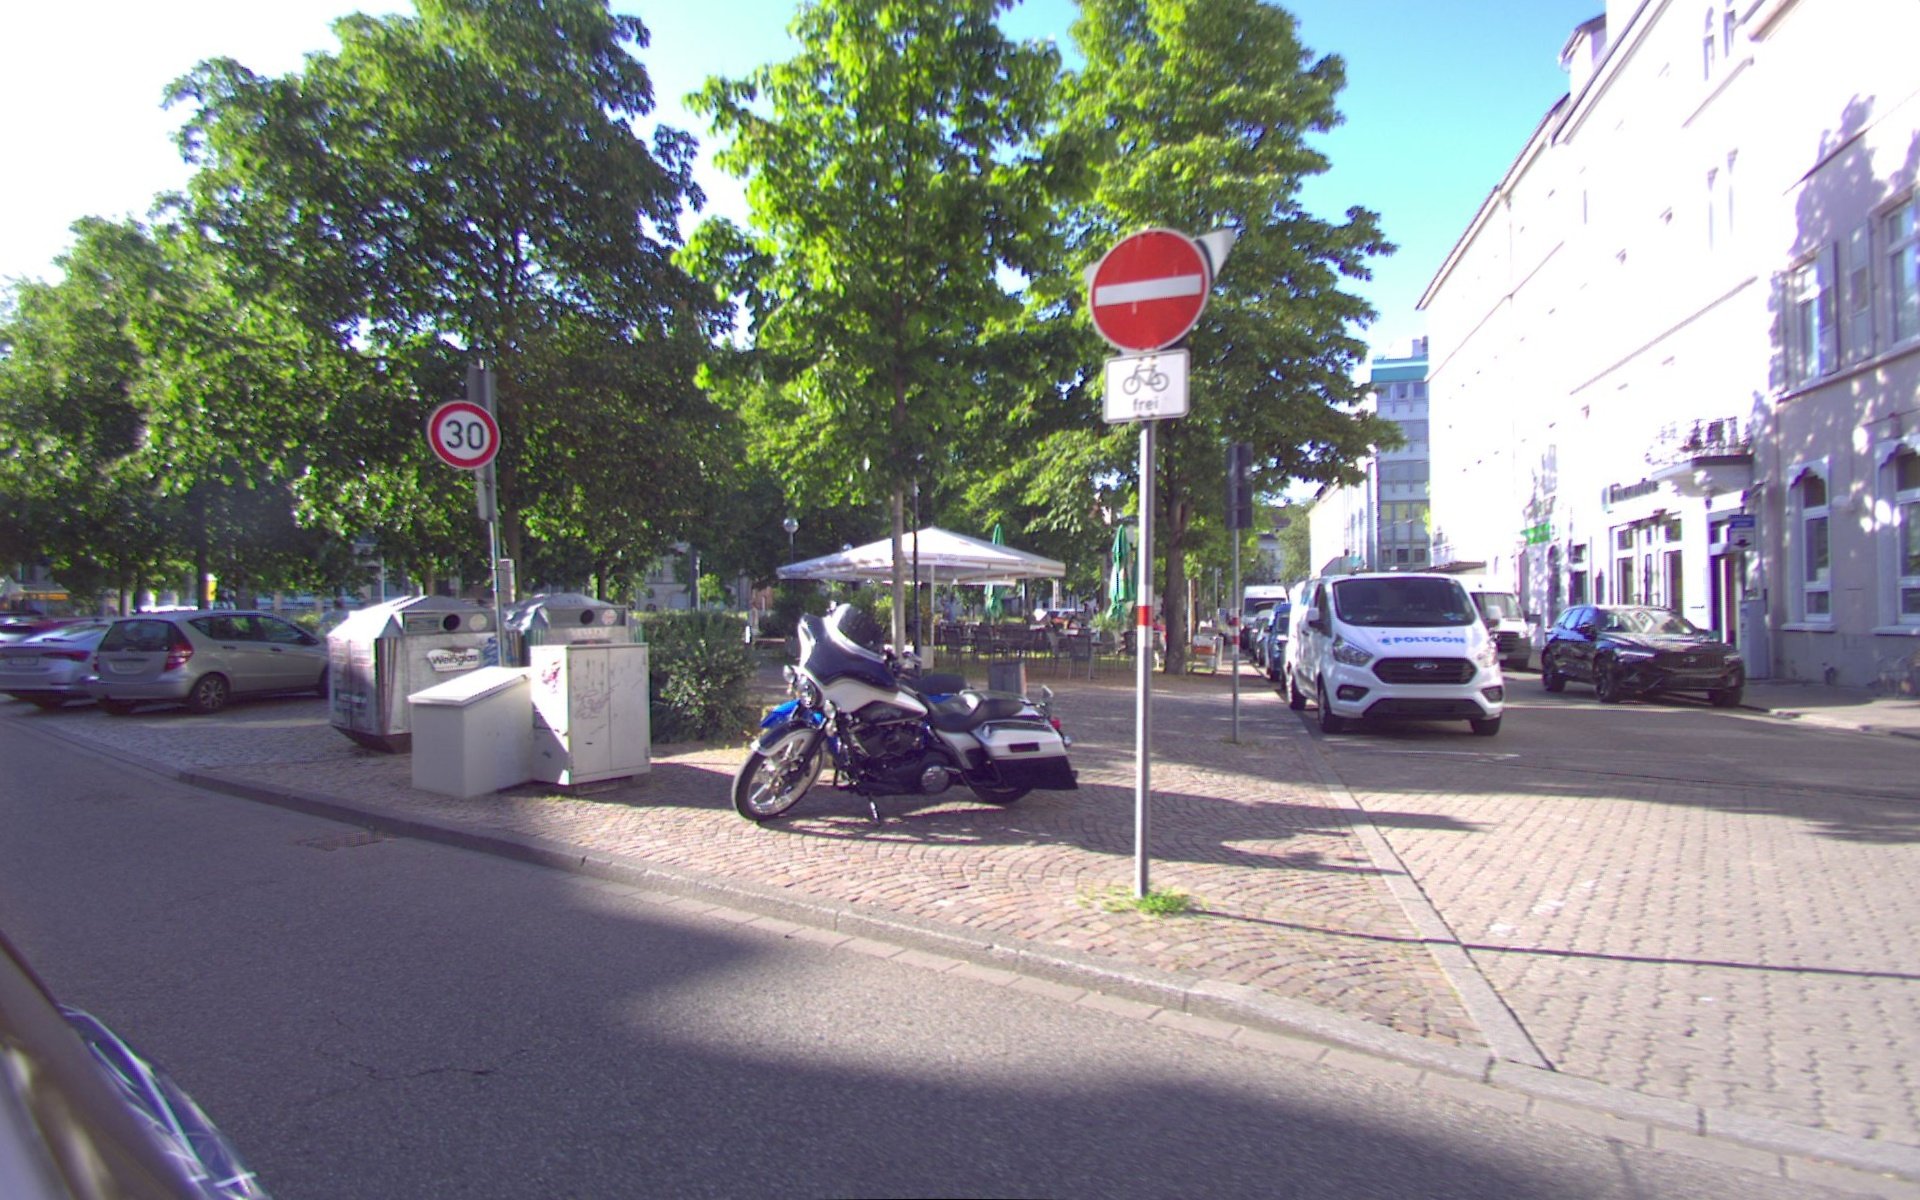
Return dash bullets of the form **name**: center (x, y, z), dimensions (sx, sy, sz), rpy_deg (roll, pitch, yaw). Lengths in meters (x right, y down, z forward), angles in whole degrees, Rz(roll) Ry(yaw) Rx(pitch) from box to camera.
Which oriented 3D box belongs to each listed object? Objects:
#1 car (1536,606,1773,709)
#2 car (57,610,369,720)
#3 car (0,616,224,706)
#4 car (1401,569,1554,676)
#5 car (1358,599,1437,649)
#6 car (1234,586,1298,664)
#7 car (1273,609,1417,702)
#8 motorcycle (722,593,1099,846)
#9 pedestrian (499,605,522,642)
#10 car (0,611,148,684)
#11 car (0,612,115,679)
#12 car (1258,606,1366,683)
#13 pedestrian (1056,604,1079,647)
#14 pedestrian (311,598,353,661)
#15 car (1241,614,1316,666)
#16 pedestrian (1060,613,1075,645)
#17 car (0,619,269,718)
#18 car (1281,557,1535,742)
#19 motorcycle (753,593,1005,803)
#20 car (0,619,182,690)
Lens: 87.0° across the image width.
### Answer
- **car**: center (11.649, 0.930, 17.378), dimensions (1.910, 1.528, 4.363), rpy_deg (-1, -2, 14)
- **car**: center (-12.117, 0.972, 16.795), dimensions (1.976, 1.574, 3.991), rpy_deg (-1, 0, 7)
- **car**: center (-16.812, 1.092, 19.494), dimensions (1.980, 1.485, 3.984), rpy_deg (-1, 0, 12)
- **car**: center (14.670, 0.681, 29.235), dimensions (2.192, 2.722, 6.990), rpy_deg (-1, -2, 13)
- **car**: center (16.575, 0.932, 38.581), dimensions (1.909, 1.802, 4.568), rpy_deg (-1, -2, 13)
- **car**: center (12.929, 1.080, 43.043), dimensions (2.097, 3.109, 5.873), rpy_deg (-1, -2, 13)
- **car**: center (6.971, 0.976, 18.753), dimensions (1.909, 1.528, 4.133), rpy_deg (-1, -2, 13)
- **motorcycle**: center (-0.330, 0.690, 6.764), dimensions (2.282, 1.434, 1.004), rpy_deg (-1, -1, -24)
- **pedestrian**: center (-15.537, 0.806, 34.953), dimensions (0.516, 1.266, 0.523), rpy_deg (-1, -1, 21)
- **car**: center (-23.340, 1.152, 25.543), dimensions (2.086, 1.657, 3.975), rpy_deg (1, 0, 19)
- **car**: center (-25.512, 1.214, 27.112), dimensions (1.985, 1.706, 3.974), rpy_deg (-1, 0, 19)
- **car**: center (8.070, 1.012, 23.560), dimensions (1.909, 1.624, 4.133), rpy_deg (-1, -2, 13)
- **pedestrian**: center (3.506, 0.828, 33.090), dimensions (0.570, 1.367, 0.561), rpy_deg (-1, -1, 29)
- **pedestrian**: center (-12.825, 0.598, 20.691), dimensions (0.520, 1.266, 0.519), rpy_deg (0, -1, 5)
- **car**: center (9.933, 1.237, 31.827), dimensions (1.909, 1.528, 4.133), rpy_deg (-1, -2, 13)
- **pedestrian**: center (3.325, 0.892, 31.258), dimensions (0.363, 0.960, 0.381), rpy_deg (-1, -1, 18)
- **car**: center (-14.440, 1.091, 17.493), dimensions (1.976, 1.453, 3.991), rpy_deg (-1, 0, 7)
- **car**: center (5.635, 0.613, 13.544), dimensions (2.053, 1.959, 5.306), rpy_deg (-1, -2, 13)
- **motorcycle**: center (-0.622, 0.681, 7.758), dimensions (1.724, 1.434, 0.832), rpy_deg (-1, -1, -25)
- **car**: center (-21.181, 1.236, 23.948), dimensions (1.989, 1.485, 3.965), rpy_deg (-1, 0, 26)
